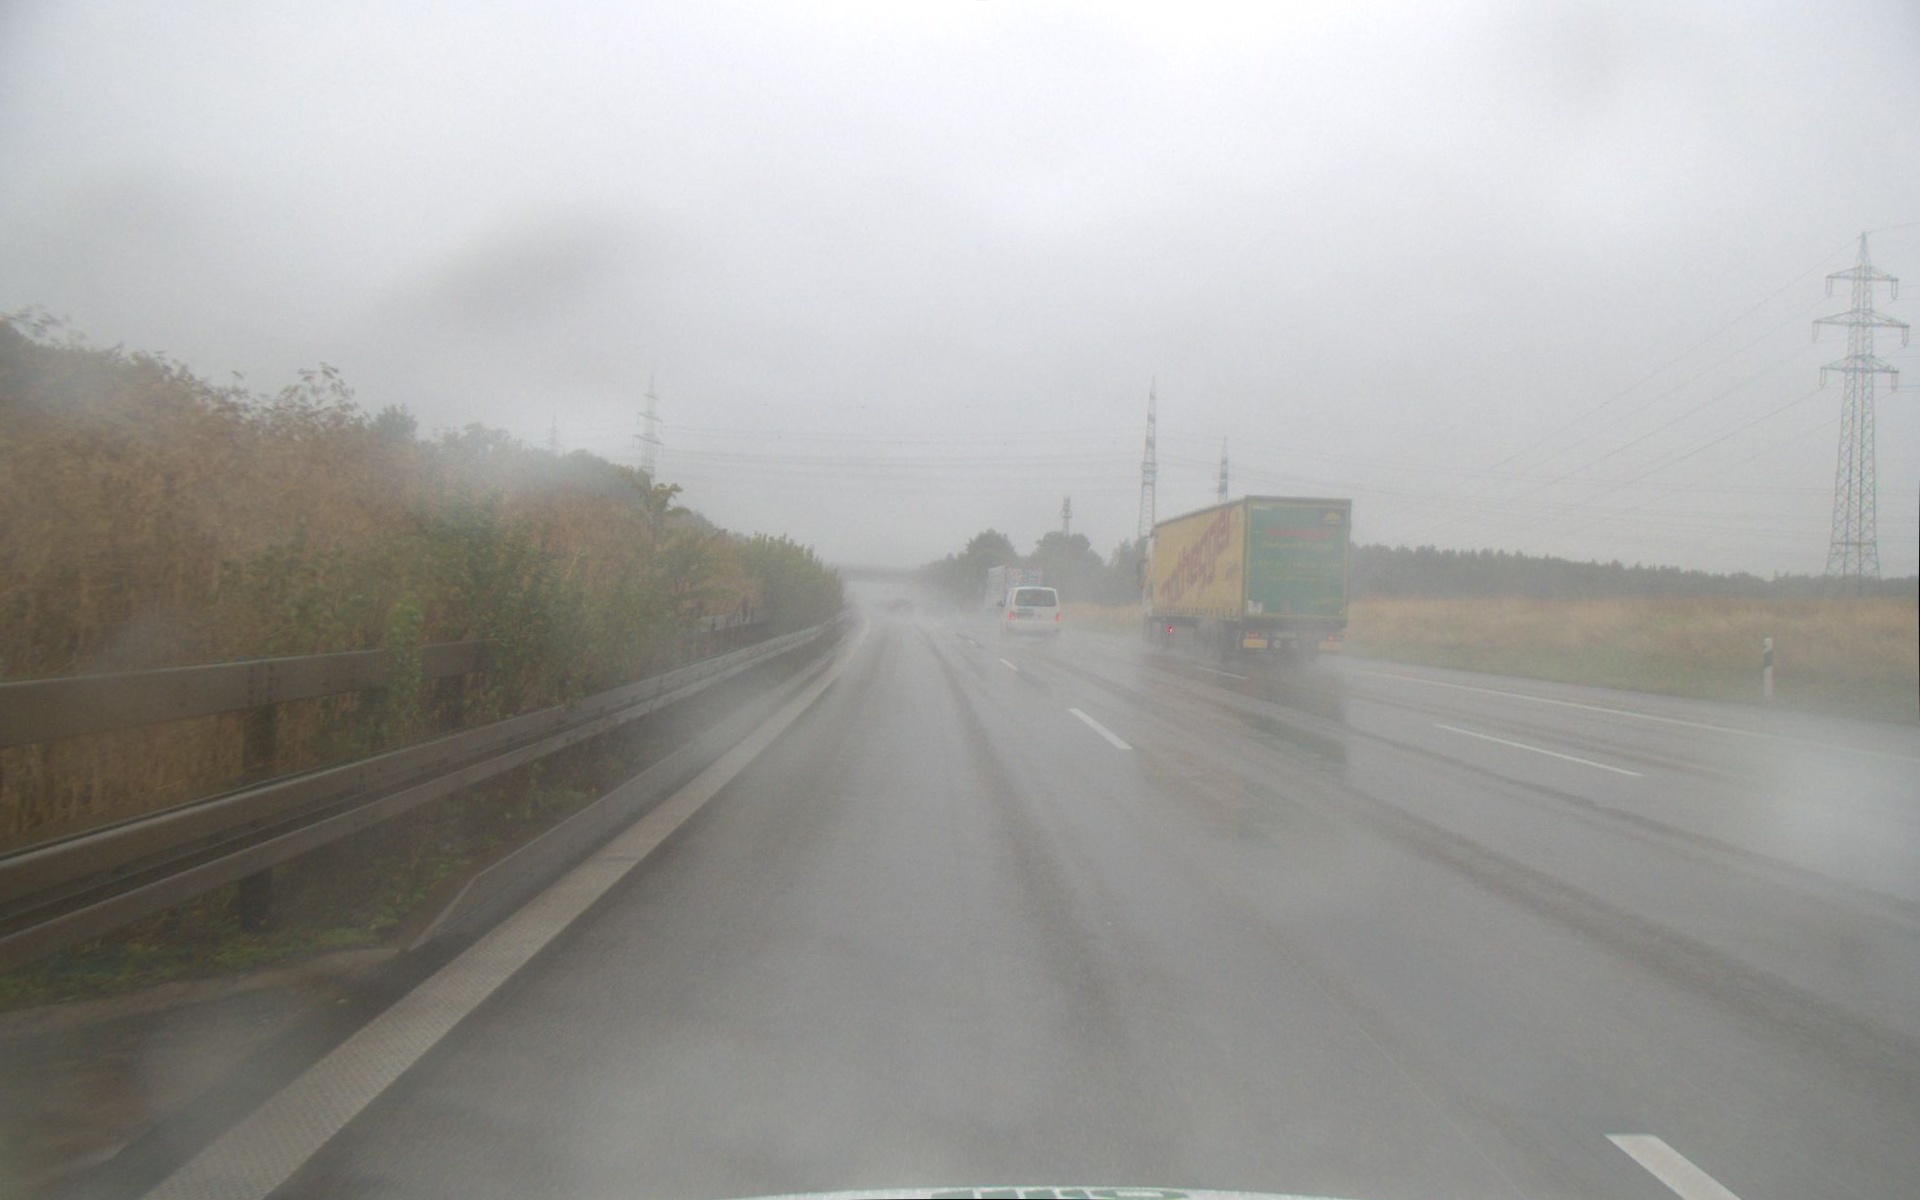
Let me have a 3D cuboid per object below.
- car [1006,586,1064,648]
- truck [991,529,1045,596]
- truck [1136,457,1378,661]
[{"bbox_3d":[2.674,0.553,58.286,1.952,2.049,4.002,1,1,3],"label":"car"},{"bbox_3d":[3.930,-2.561,114.856,3.167,4.386,8.835,1,1,-1],"label":"truck"},{"bbox_3d":[7.828,-0.978,46.934,4.103,4.711,16.106,1,0,1],"label":"truck"}]
